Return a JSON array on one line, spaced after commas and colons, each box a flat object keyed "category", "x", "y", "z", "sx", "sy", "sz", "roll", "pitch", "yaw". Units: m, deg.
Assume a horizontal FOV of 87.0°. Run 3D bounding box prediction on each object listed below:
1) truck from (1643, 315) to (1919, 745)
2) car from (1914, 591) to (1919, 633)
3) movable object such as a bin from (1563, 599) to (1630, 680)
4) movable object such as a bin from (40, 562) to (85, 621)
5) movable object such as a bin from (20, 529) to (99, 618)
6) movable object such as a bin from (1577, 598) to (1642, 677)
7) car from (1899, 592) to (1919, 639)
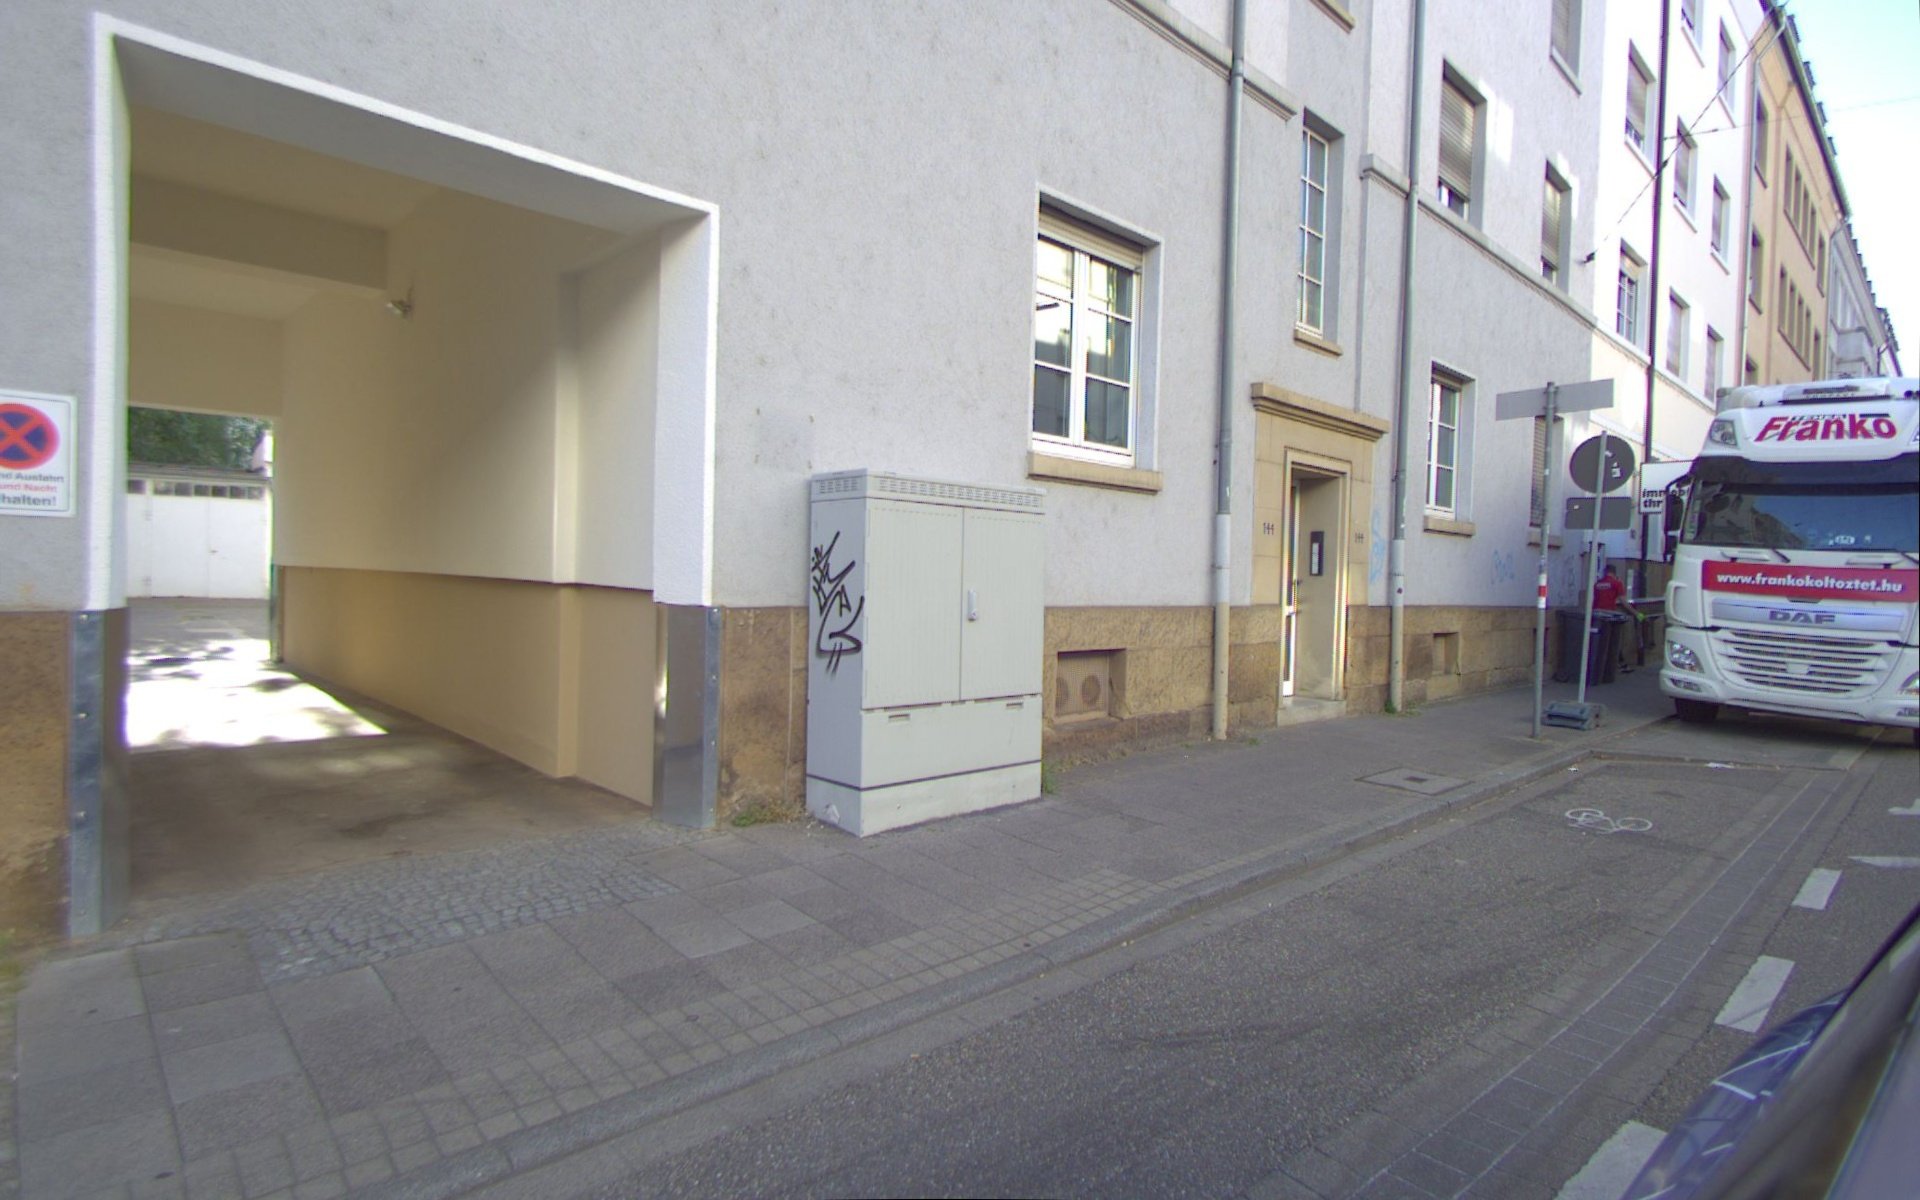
[{"category": "truck", "x": 12.580, "y": -0.682, "z": 13.887, "sx": 11.621, "sy": 3.975, "sz": 2.778, "roll": 0, "pitch": 2, "yaw": -44}, {"category": "car", "x": 37.680, "y": 0.456, "z": 38.636, "sx": 4.080, "sy": 1.551, "sz": 1.681, "roll": 0, "pitch": 0, "yaw": -44}, {"category": "movable object such as a bin", "x": 9.176, "y": 0.549, "z": 14.594, "sx": 0.560, "sy": 1.107, "sz": 0.665, "roll": 0, "pitch": 2, "yaw": -43}, {"category": "movable object such as a bin", "x": -14.372, "y": -0.145, "z": 16.206, "sx": 0.518, "sy": 0.922, "sz": 0.580, "roll": 0, "pitch": 2, "yaw": -43}, {"category": "movable object such as a bin", "x": -15.149, "y": -0.452, "z": 17.024, "sx": 0.946, "sy": 1.426, "sz": 1.597, "roll": 0, "pitch": 2, "yaw": -43}, {"category": "movable object such as a bin", "x": 9.655, "y": 0.541, "z": 15.045, "sx": 0.560, "sy": 1.107, "sz": 0.665, "roll": 0, "pitch": 2, "yaw": -43}, {"category": "car", "x": 33.510, "y": 0.524, "z": 34.739, "sx": 4.080, "sy": 1.551, "sz": 1.681, "roll": 0, "pitch": 0, "yaw": -44}]
